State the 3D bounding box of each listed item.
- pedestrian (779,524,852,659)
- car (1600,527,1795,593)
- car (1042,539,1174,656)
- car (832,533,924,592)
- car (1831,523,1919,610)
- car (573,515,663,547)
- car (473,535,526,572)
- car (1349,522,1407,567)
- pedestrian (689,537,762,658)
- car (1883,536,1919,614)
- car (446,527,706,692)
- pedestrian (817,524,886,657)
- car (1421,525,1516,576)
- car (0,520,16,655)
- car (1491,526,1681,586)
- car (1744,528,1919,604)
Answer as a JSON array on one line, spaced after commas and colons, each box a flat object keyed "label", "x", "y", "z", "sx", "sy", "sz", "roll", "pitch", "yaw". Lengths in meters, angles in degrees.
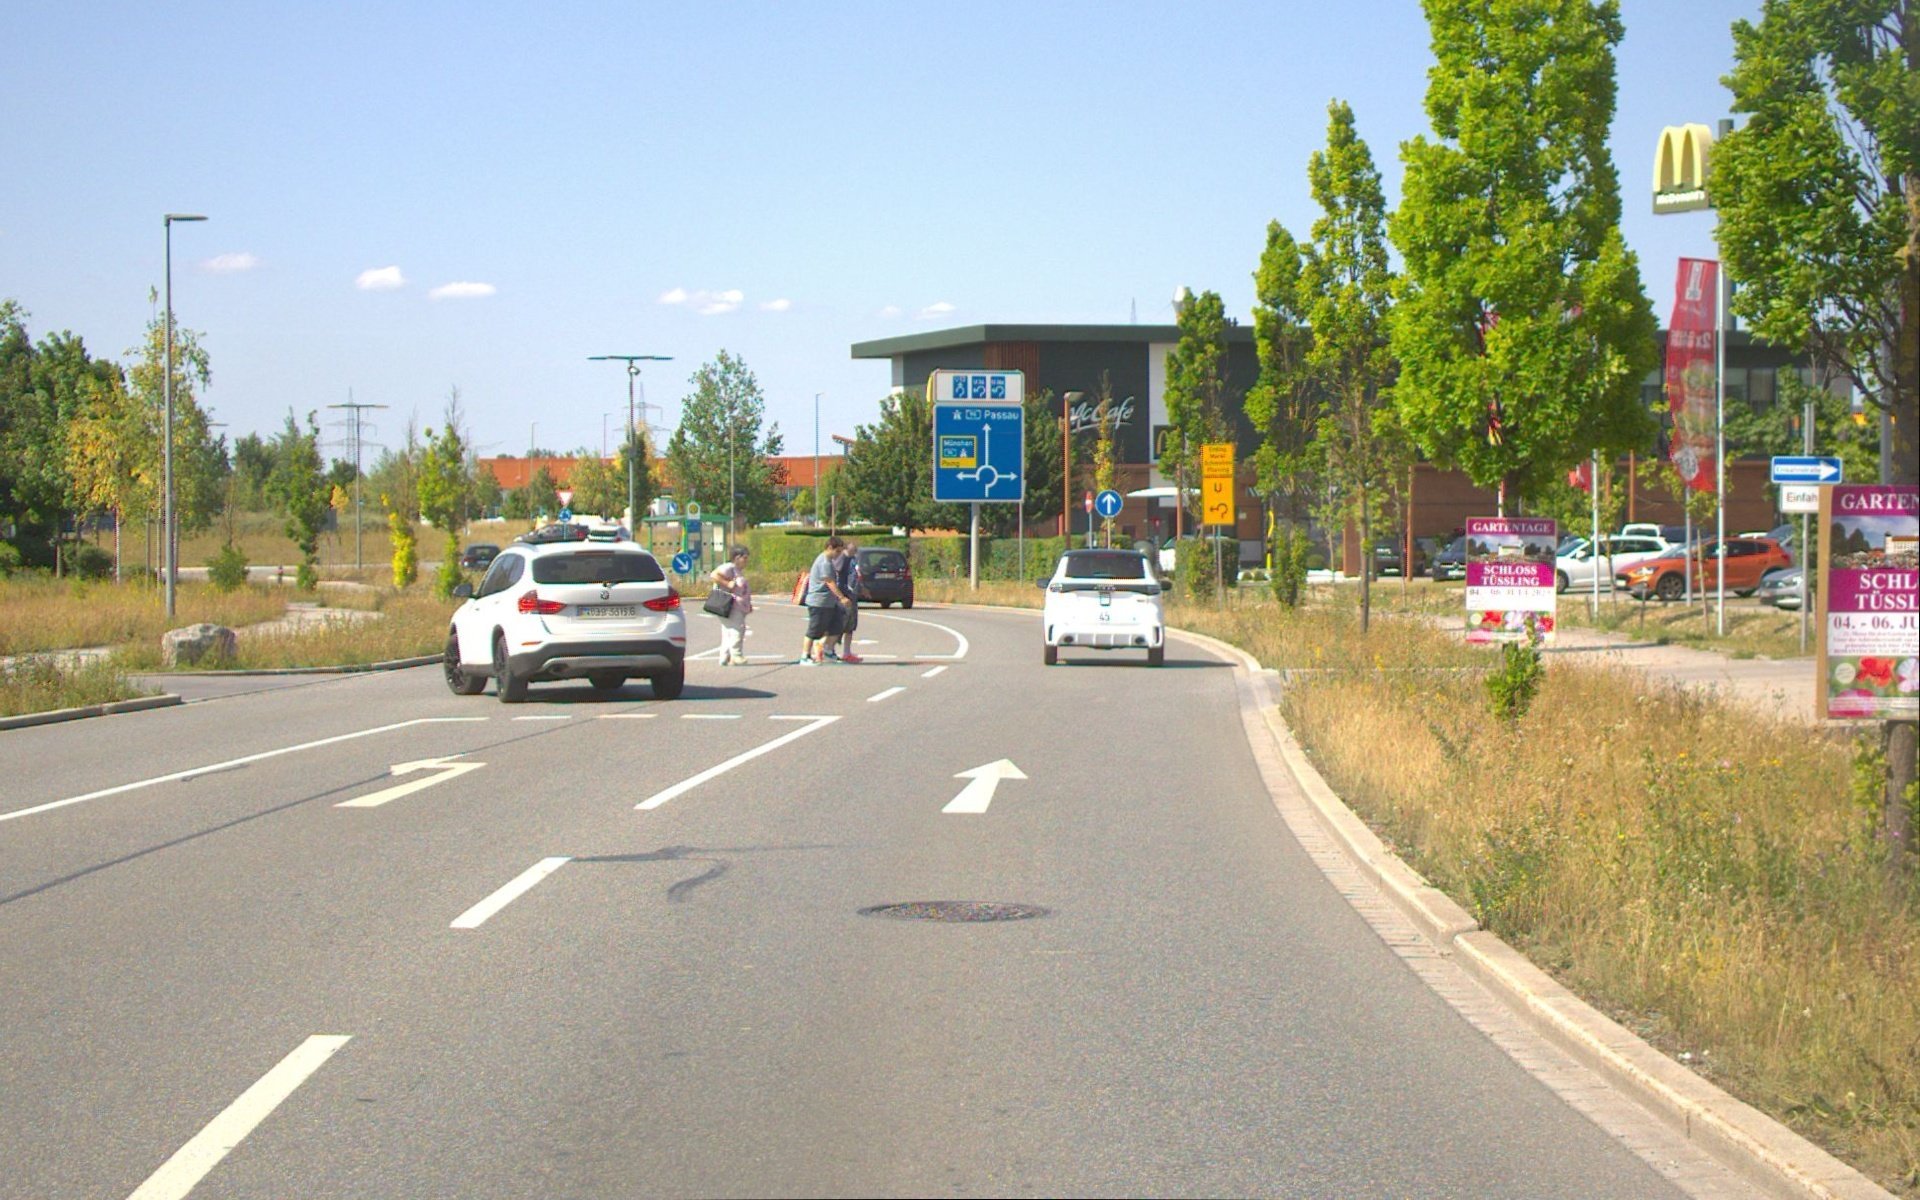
[{"label": "pedestrian", "x": -1.762, "y": -0.111, "z": 42.040, "sx": 0.809, "sy": 1.623, "sz": 0.866, "roll": 0, "pitch": 1, "yaw": 2}, {"label": "car", "x": 17.821, "y": -0.974, "z": 83.125, "sx": 4.203, "sy": 1.485, "sz": 1.869, "roll": -1, "pitch": 2, "yaw": -12}, {"label": "car", "x": 1.878, "y": -0.063, "z": 44.223, "sx": 1.616, "sy": 1.429, "sz": 3.792, "roll": 0, "pitch": 1, "yaw": 2}, {"label": "car", "x": -2.064, "y": -0.954, "z": 85.789, "sx": 1.616, "sy": 1.429, "sz": 3.794, "roll": 0, "pitch": 1, "yaw": -12}, {"label": "car", "x": 19.751, "y": -0.703, "z": 68.712, "sx": 4.153, "sy": 1.659, "sz": 1.869, "roll": -1, "pitch": 2, "yaw": -5}, {"label": "car", "x": -15.968, "y": -3.230, "z": 160.707, "sx": 1.998, "sy": 1.459, "sz": 3.992, "roll": 1, "pitch": 2, "yaw": 37}, {"label": "car", "x": -18.807, "y": -1.920, "z": 140.466, "sx": 1.993, "sy": 1.435, "sz": 4.001, "roll": -1, "pitch": 2, "yaw": -5}, {"label": "car", "x": 15.230, "y": -2.031, "z": 125.123, "sx": 1.793, "sy": 1.599, "sz": 3.998, "roll": 0, "pitch": 1, "yaw": 11}, {"label": "pedestrian", "x": -2.875, "y": -0.043, "z": 42.201, "sx": 0.793, "sy": 1.465, "sz": 0.949, "roll": 0, "pitch": 1, "yaw": 2}, {"label": "car", "x": 20.132, "y": -0.526, "z": 66.250, "sx": 4.152, "sy": 1.444, "sz": 1.792, "roll": -1, "pitch": 2, "yaw": -11}, {"label": "car", "x": -3.912, "y": 0.044, "z": 34.438, "sx": 1.911, "sy": 1.542, "sz": 4.227, "roll": 0, "pitch": 1, "yaw": -16}, {"label": "pedestrian", "x": -1.339, "y": -0.128, "z": 42.574, "sx": 0.801, "sy": 1.624, "sz": 0.805, "roll": 0, "pitch": 1, "yaw": 2}, {"label": "car", "x": 14.956, "y": -1.468, "z": 100.943, "sx": 1.699, "sy": 1.457, "sz": 4.164, "roll": 0, "pitch": 1, "yaw": 24}, {"label": "car", "x": -13.027, "y": -0.129, "z": 39.065, "sx": 3.988, "sy": 1.542, "sz": 1.917, "roll": 0, "pitch": 1, "yaw": 8}, {"label": "car", "x": 16.478, "y": -1.173, "z": 90.526, "sx": 4.524, "sy": 1.485, "sz": 1.869, "roll": -1, "pitch": 2, "yaw": -12}, {"label": "car", "x": 19.254, "y": -0.744, "z": 73.314, "sx": 4.554, "sy": 1.485, "sz": 1.869, "roll": -1, "pitch": 2, "yaw": -8}]
